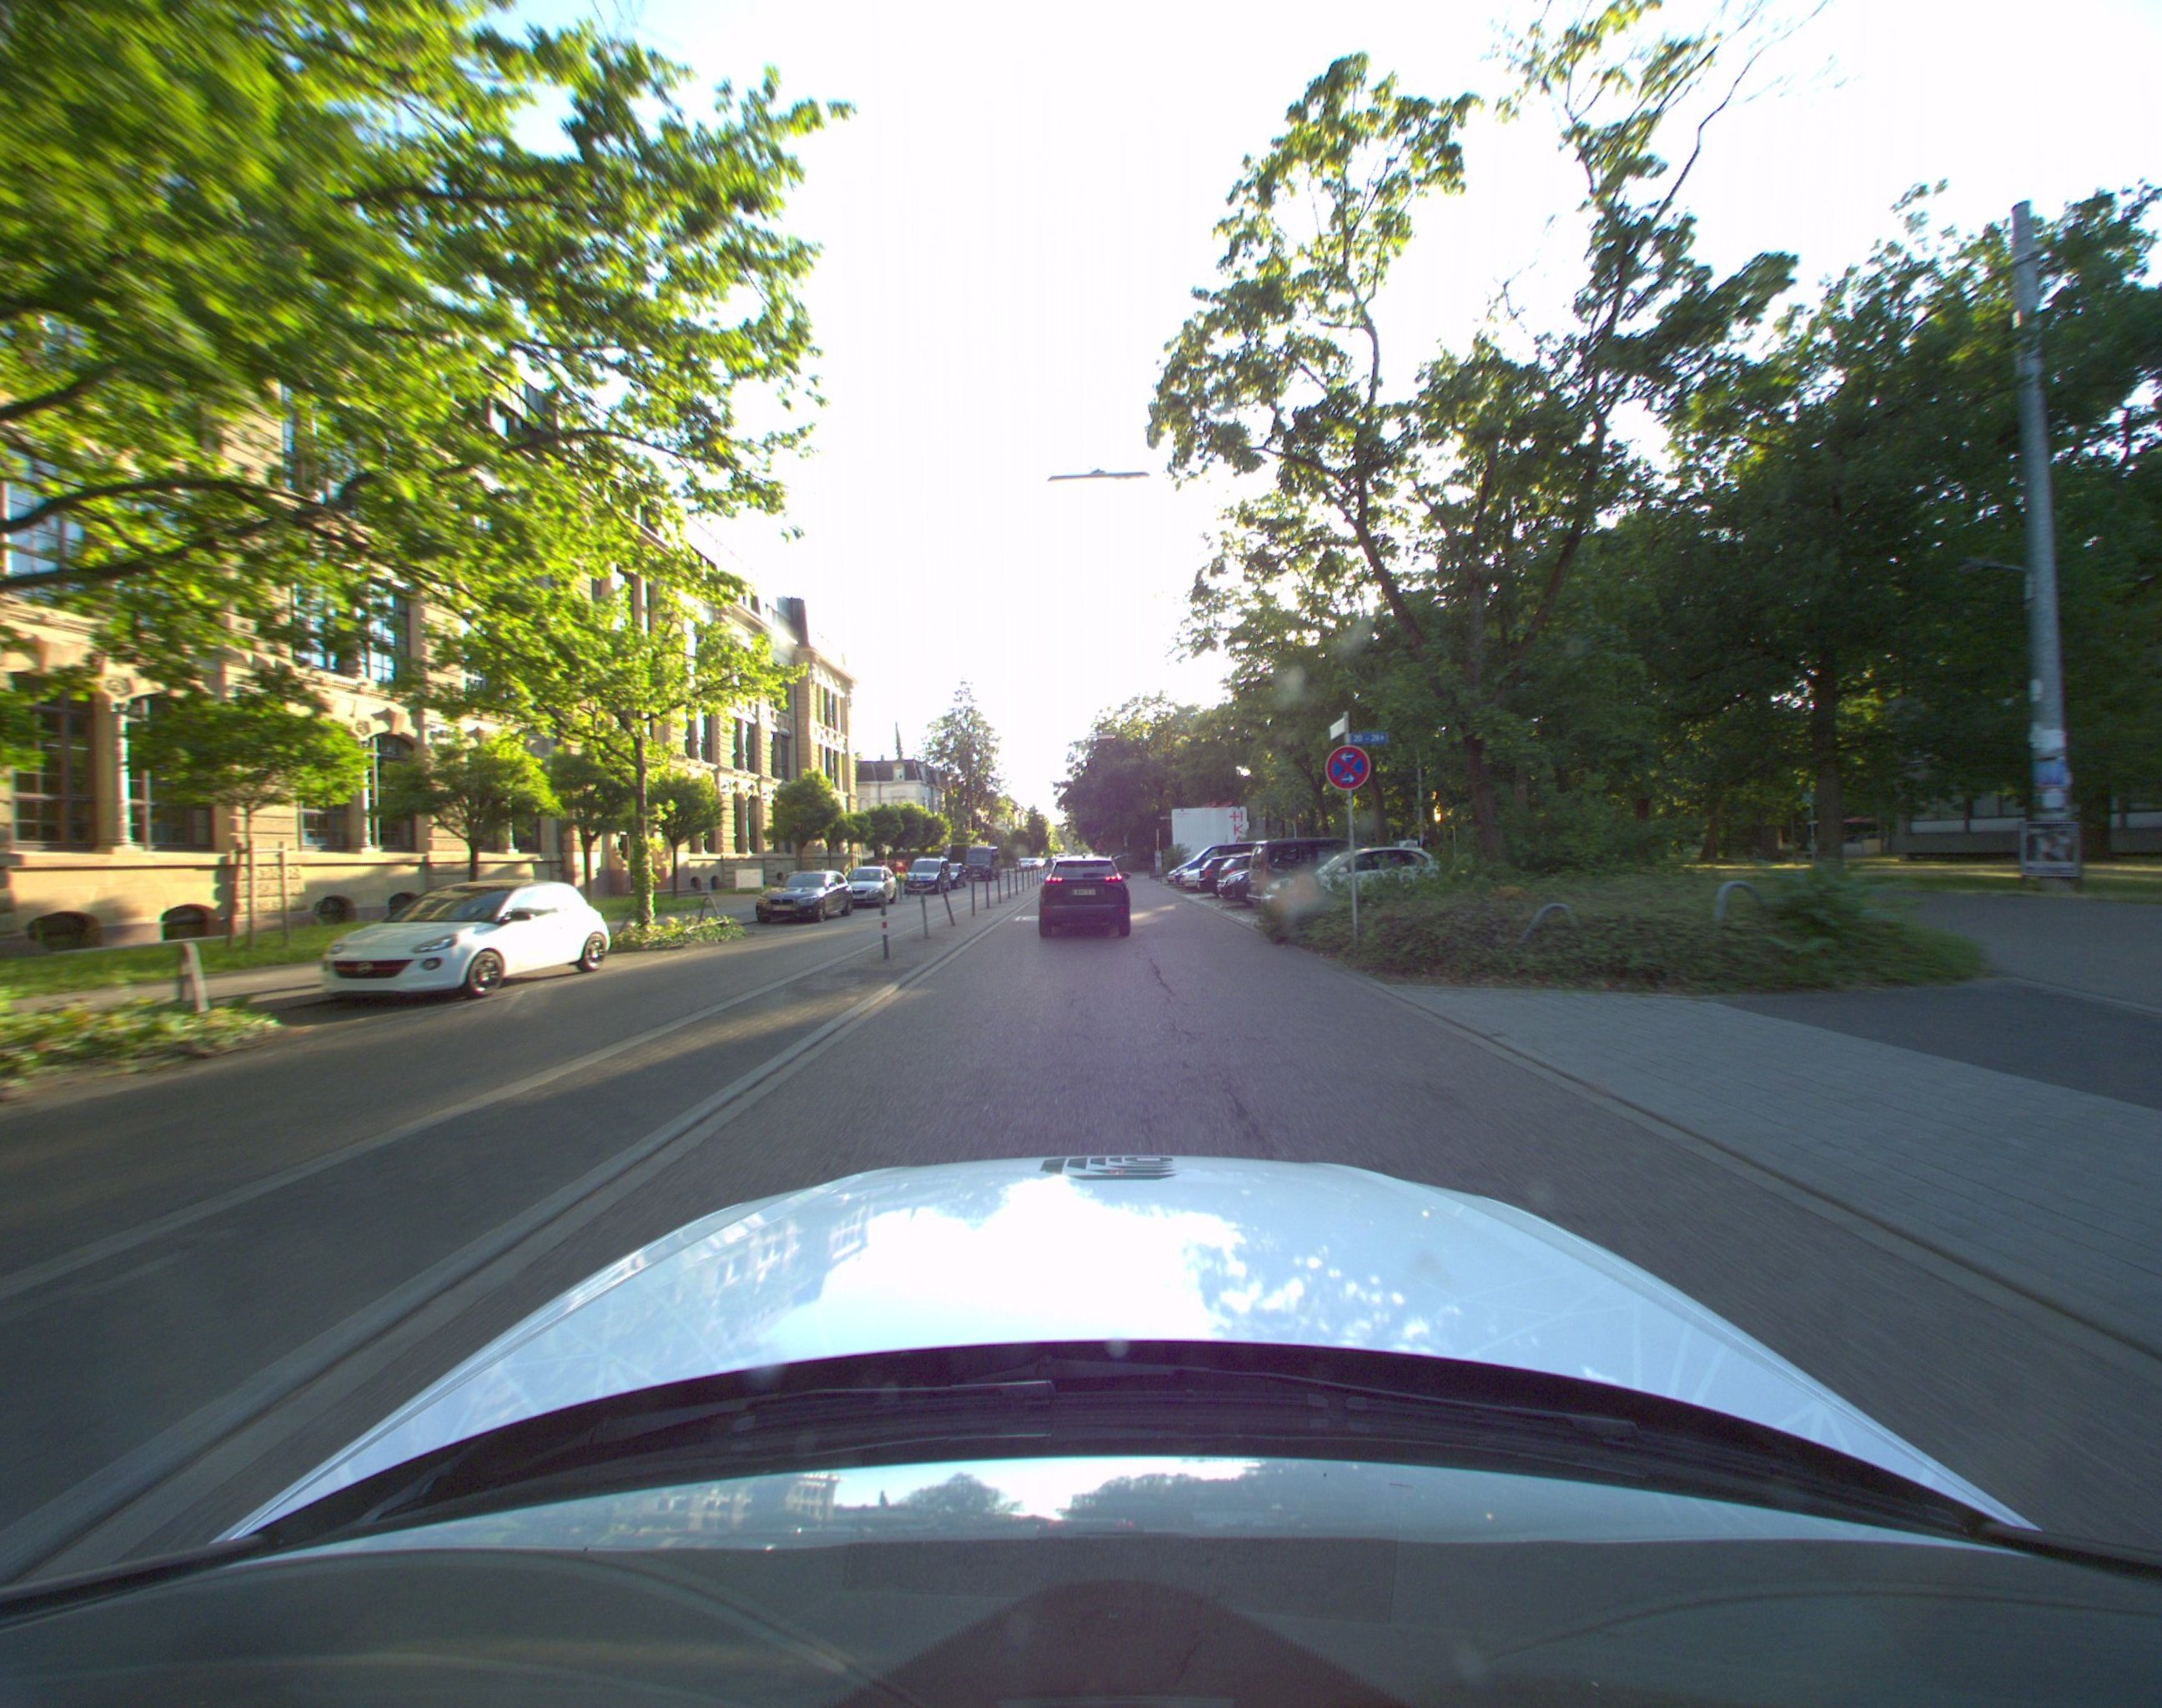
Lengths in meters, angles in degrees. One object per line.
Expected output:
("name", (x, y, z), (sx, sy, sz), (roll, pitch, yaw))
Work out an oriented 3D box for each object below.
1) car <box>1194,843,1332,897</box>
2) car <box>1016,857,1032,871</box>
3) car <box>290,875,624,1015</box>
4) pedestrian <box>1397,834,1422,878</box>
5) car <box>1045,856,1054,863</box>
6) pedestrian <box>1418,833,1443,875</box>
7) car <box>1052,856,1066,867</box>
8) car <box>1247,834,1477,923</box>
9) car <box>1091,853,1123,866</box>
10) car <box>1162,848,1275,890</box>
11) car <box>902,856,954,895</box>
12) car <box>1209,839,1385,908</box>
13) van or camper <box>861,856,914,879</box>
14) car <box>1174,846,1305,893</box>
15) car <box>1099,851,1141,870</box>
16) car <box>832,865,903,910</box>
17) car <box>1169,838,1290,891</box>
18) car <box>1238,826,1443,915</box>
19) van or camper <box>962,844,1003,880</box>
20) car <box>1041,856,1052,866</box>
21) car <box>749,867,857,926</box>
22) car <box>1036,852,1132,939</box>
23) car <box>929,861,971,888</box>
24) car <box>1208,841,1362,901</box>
("car", (6.282, 0.540, 28.482), (4.349, 1.537, 1.920), (-4, 0, 0))
("car", (-6.765, 1.166, 96.675), (1.609, 1.515, 3.710), (-4, 0, -1))
("car", (-8.381, 1.108, 11.459), (1.612, 1.496, 3.925), (-1, 0, 1))
("pedestrian", (13.837, 0.080, 34.291), (0.662, 1.772, 0.785), (-2, 0, -4))
("car", (-7.092, 1.306, 184.122), (1.893, 1.574, 4.000), (-2, 0, 0))
("pedestrian", (14.807, 0.010, 34.505), (0.645, 1.772, 0.789), (-2, -1, -4))
("car", (-3.157, 1.066, 117.920), (1.735, 1.458, 4.623), (-2, 0, 0))
("car", (5.985, 0.506, 17.690), (4.349, 1.554, 1.727), (-4, 0, 0))
("car", (3.521, 0.778, 112.177), (4.231, 1.449, 2.020), (-3, 0, -2))
("car", (6.382, 0.684, 38.183), (4.911, 1.554, 1.916), (-4, 0, 0))
("car", (-7.778, 1.057, 41.842), (1.771, 1.866, 4.333), (0, 0, 1))
("car", (5.919, 0.531, 22.736), (4.349, 1.554, 1.876), (-4, 0, 0))
("van or camper", (-19.828, 1.406, 83.634), (4.749, 1.985, 2.002), (-2, 4, 2))
("car", (6.421, 0.616, 33.318), (4.911, 1.554, 1.916), (-4, 0, 0))
("car", (3.795, 0.618, 79.036), (3.974, 1.554, 1.726), (-2, 1, 0))
("car", (-8.099, 1.229, 31.276), (1.714, 1.496, 4.373), (-1, 0, -2))
("car", (6.443, 0.450, 35.638), (4.837, 1.915, 1.916), (-4, 0, 0))
("car", (6.253, 0.377, 20.009), (4.349, 1.780, 1.920), (-4, 0, 0))
("van or camper", (-7.317, 0.587, 61.279), (2.222, 2.544, 7.079), (0, 0, 0))
("car", (-5.935, 1.200, 139.529), (1.747, 1.413, 3.763), (-4, 0, -1))
("car", (-8.045, 1.169, 24.016), (1.612, 1.496, 4.377), (-1, 0, 1))
("car", (0.090, 0.758, 17.123), (1.765, 1.568, 4.109), (-1, 0, 1))
("car", (-7.604, 1.189, 47.661), (1.689, 1.470, 3.857), (0, 0, 3))
("car", (6.397, 0.536, 25.925), (4.349, 1.537, 1.920), (-4, 0, 0))
